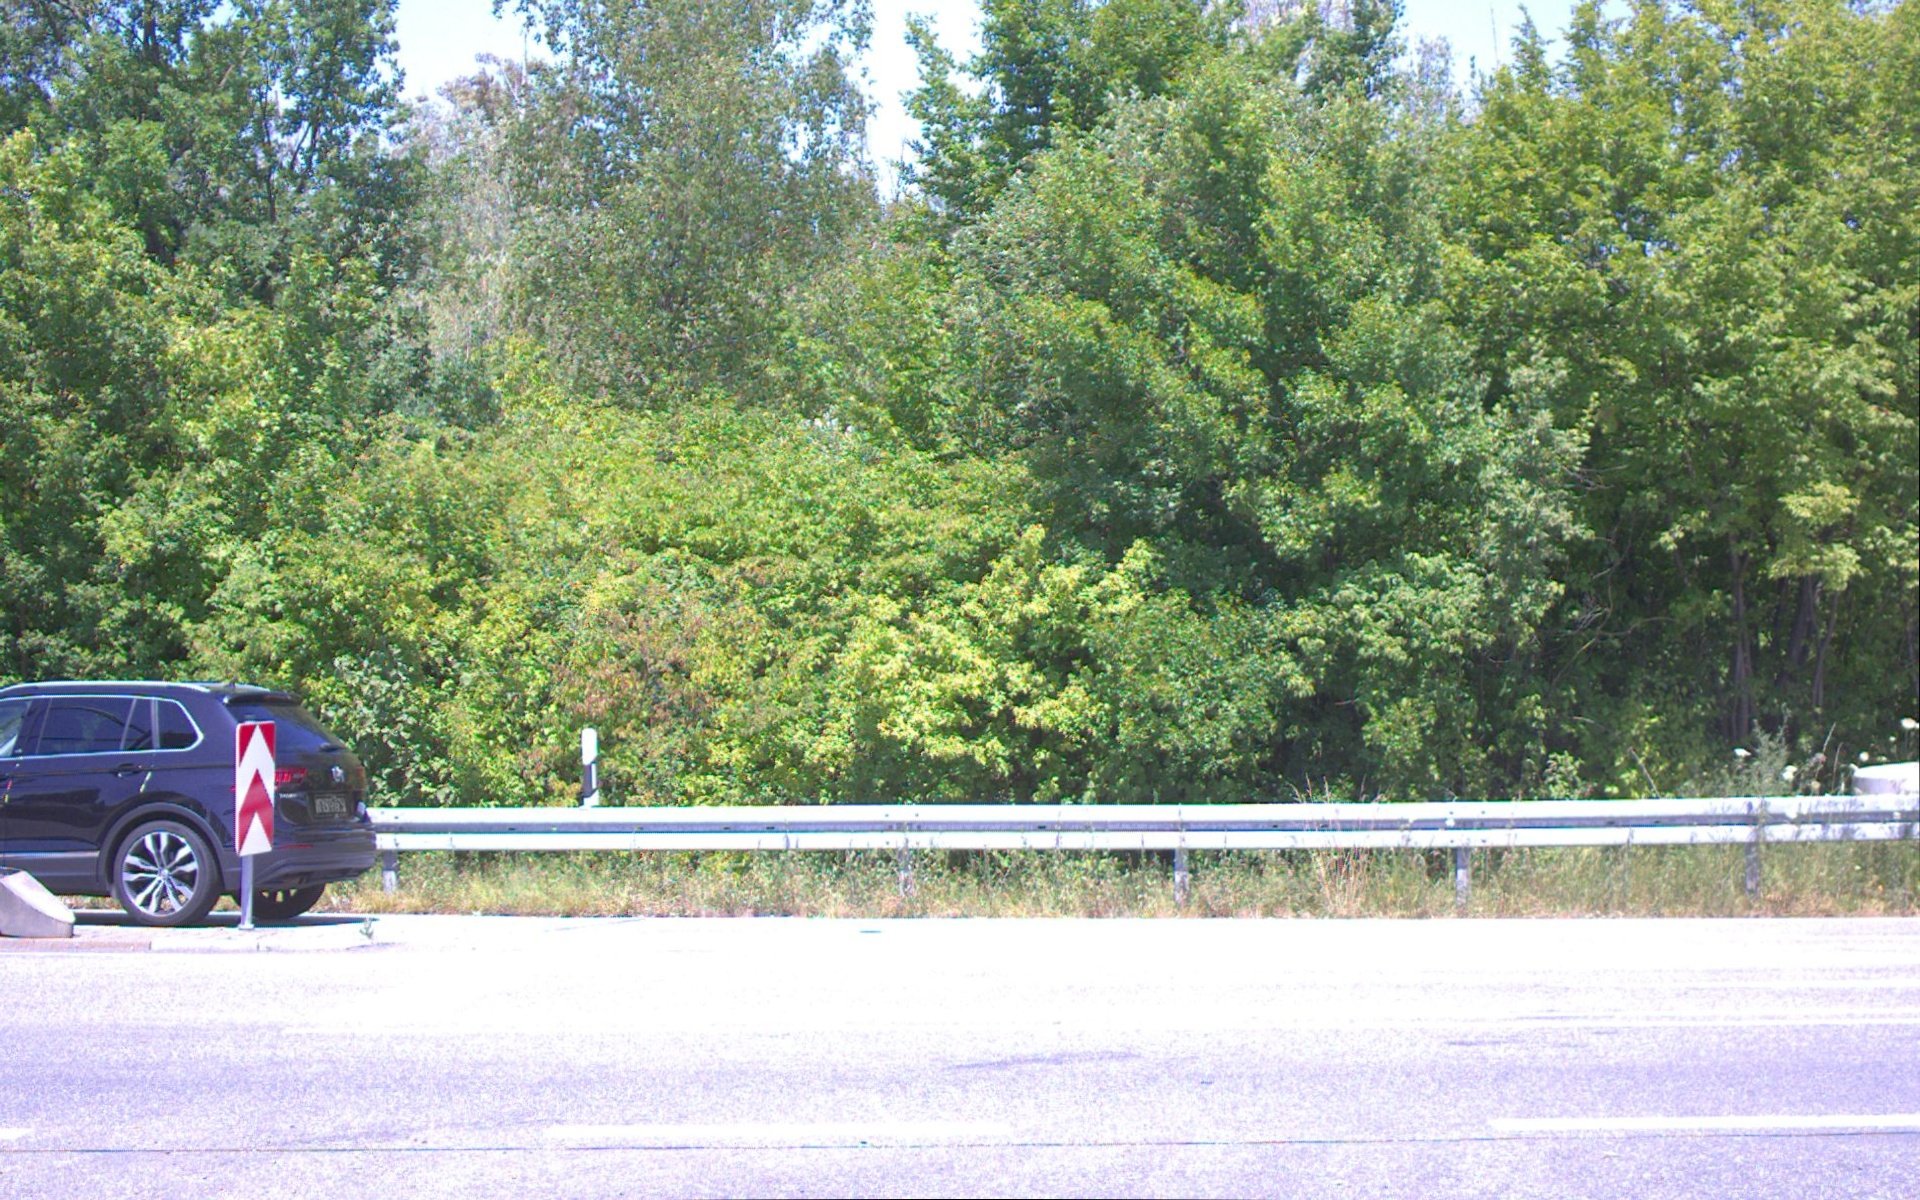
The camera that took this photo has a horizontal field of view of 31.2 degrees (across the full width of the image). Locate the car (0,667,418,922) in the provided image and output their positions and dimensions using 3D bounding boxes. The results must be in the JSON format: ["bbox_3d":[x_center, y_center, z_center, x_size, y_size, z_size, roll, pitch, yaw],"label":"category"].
[{"bbox_3d":[-6.096,1.312,23.602,4.264,1.627,1.903,0,-3,15],"label":"car"}]
